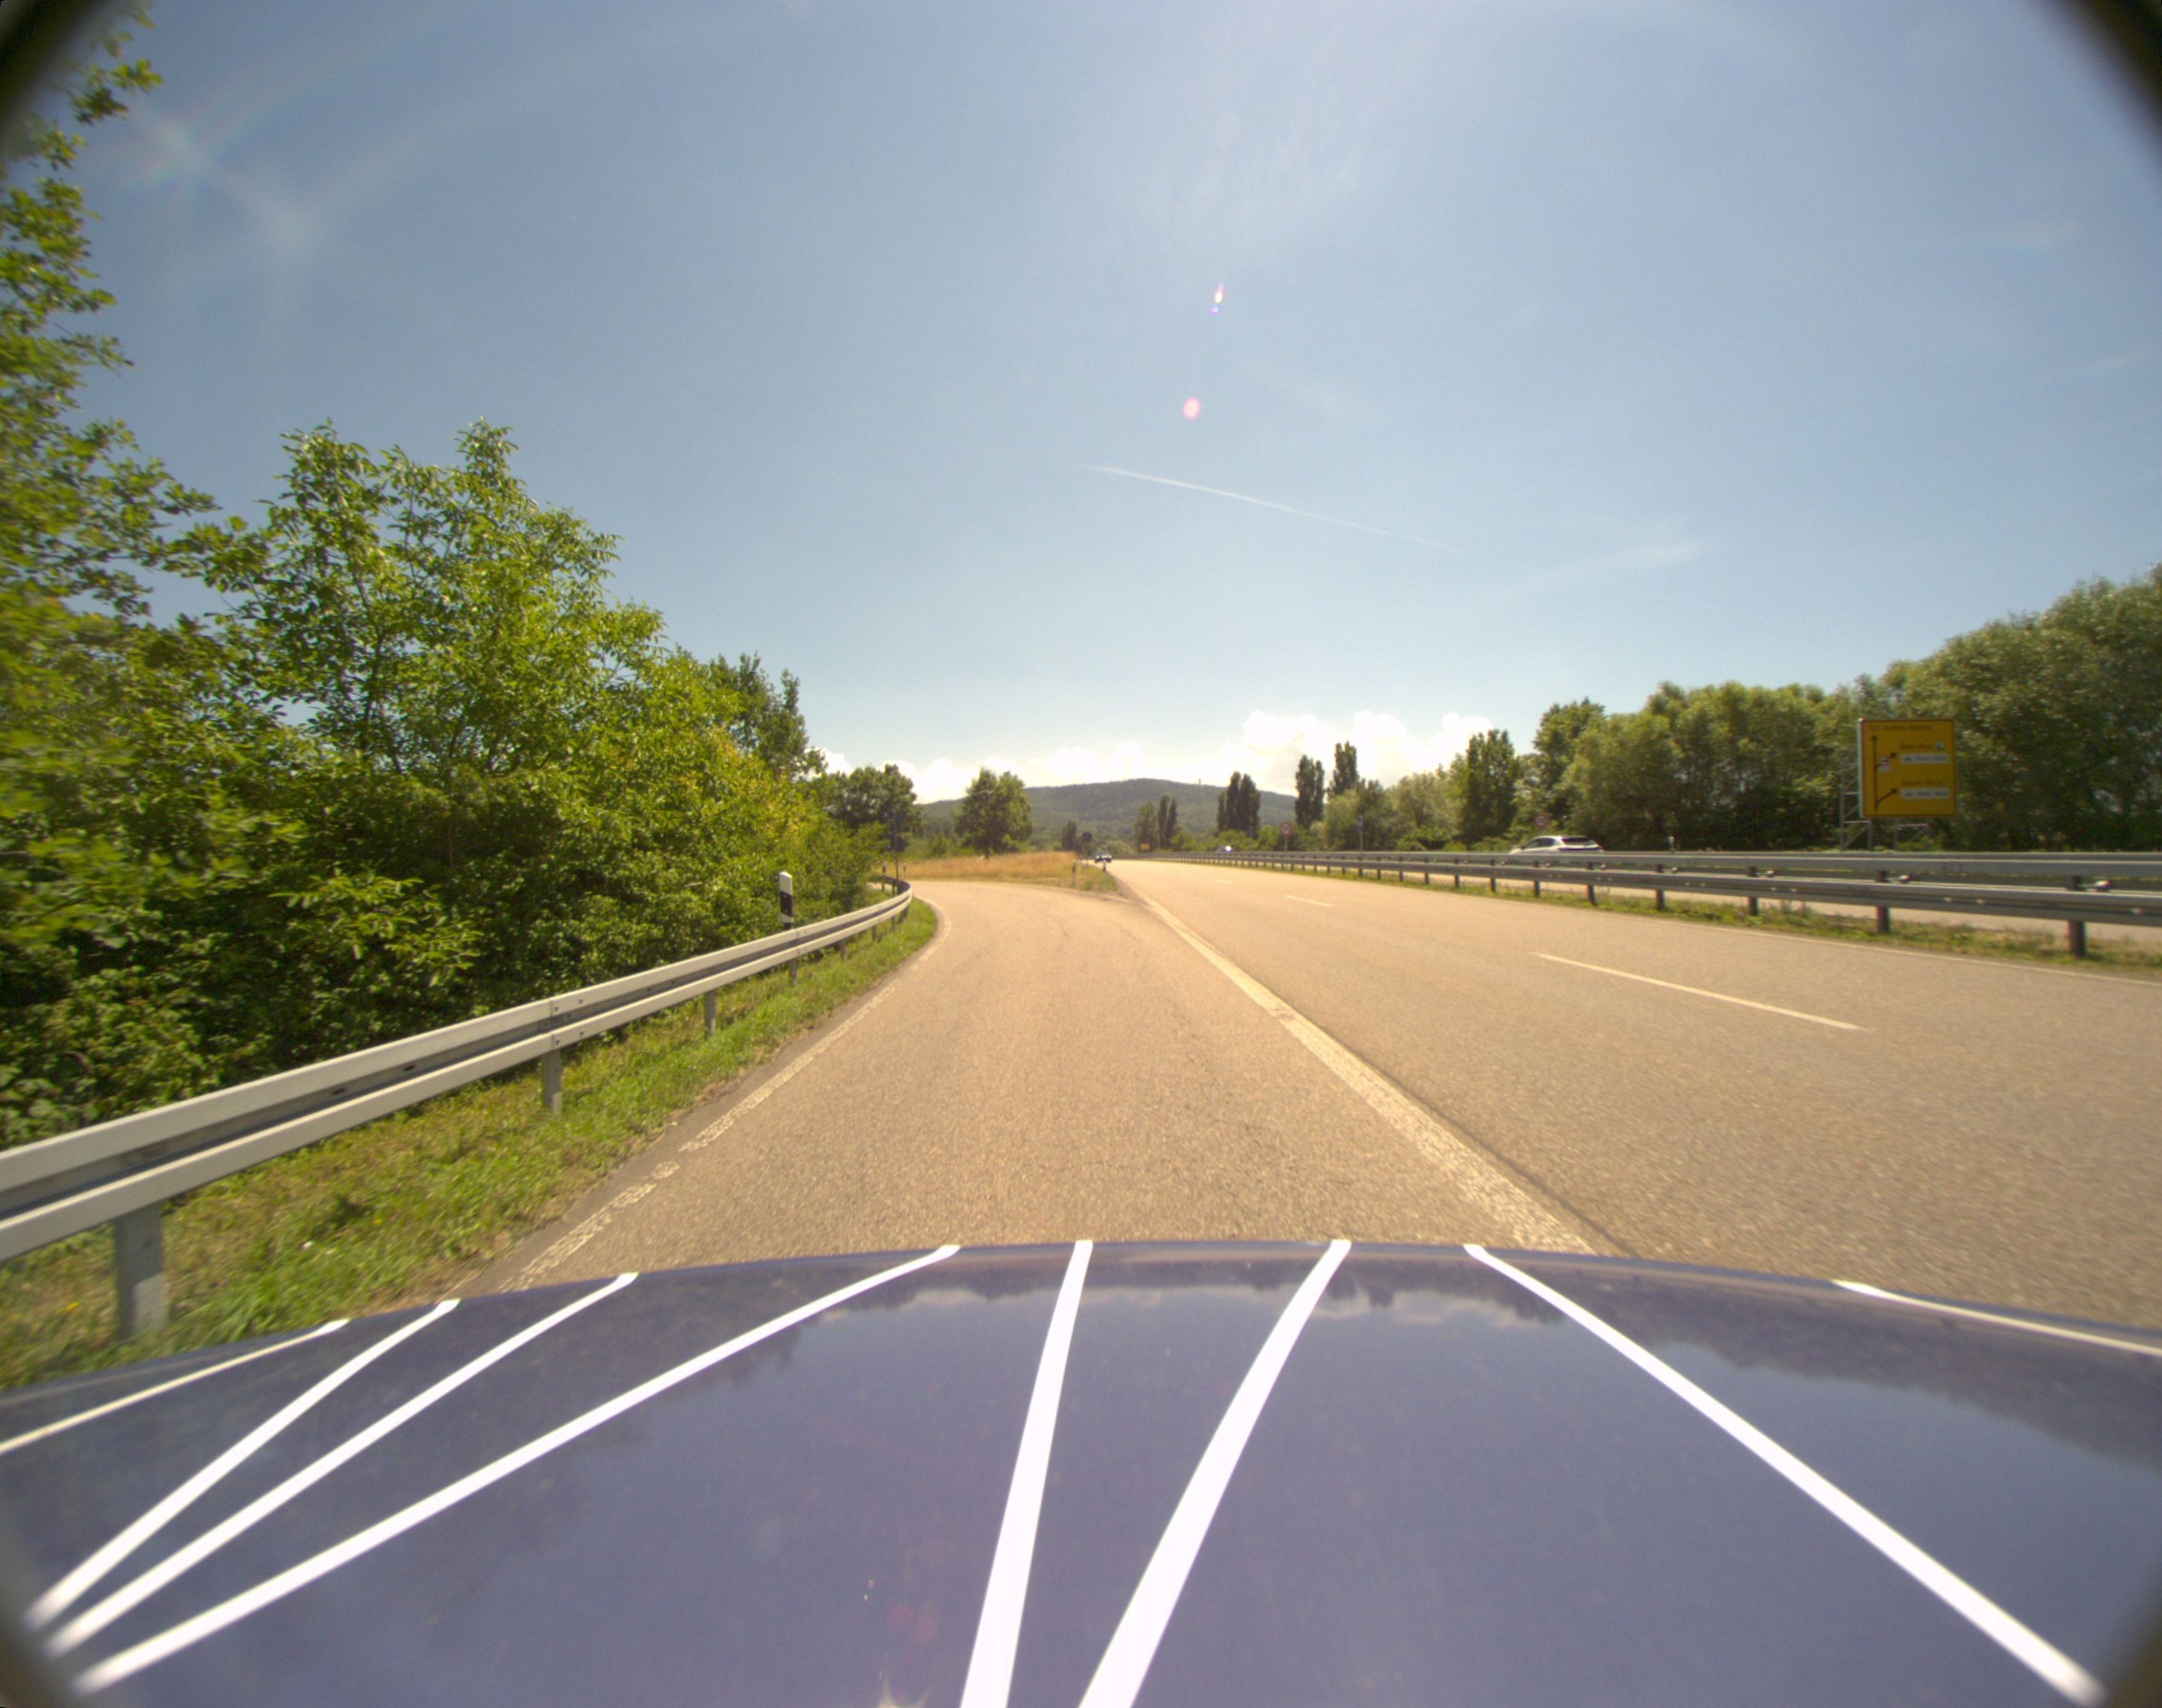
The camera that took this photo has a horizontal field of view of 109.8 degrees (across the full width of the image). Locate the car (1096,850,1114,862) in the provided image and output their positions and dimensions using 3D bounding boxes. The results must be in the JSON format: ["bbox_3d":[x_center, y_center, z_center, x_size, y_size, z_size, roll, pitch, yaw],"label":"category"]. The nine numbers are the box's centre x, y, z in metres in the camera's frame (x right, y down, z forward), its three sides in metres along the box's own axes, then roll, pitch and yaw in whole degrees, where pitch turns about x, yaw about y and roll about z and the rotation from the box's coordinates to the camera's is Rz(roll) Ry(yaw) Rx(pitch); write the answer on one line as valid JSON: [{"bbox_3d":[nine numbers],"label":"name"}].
[{"bbox_3d":[3.016,0.232,94.780,1.909,1.368,3.890,-2,0,-2],"label":"car"}]

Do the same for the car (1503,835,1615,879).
[{"bbox_3d":[18.052,0.069,28.935,1.713,1.495,3.999,-2,1,0],"label":"car"}]

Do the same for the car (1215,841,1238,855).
[{"bbox_3d":[16.881,-0.677,88.224,1.786,1.510,3.703,-2,1,-2],"label":"car"}]
